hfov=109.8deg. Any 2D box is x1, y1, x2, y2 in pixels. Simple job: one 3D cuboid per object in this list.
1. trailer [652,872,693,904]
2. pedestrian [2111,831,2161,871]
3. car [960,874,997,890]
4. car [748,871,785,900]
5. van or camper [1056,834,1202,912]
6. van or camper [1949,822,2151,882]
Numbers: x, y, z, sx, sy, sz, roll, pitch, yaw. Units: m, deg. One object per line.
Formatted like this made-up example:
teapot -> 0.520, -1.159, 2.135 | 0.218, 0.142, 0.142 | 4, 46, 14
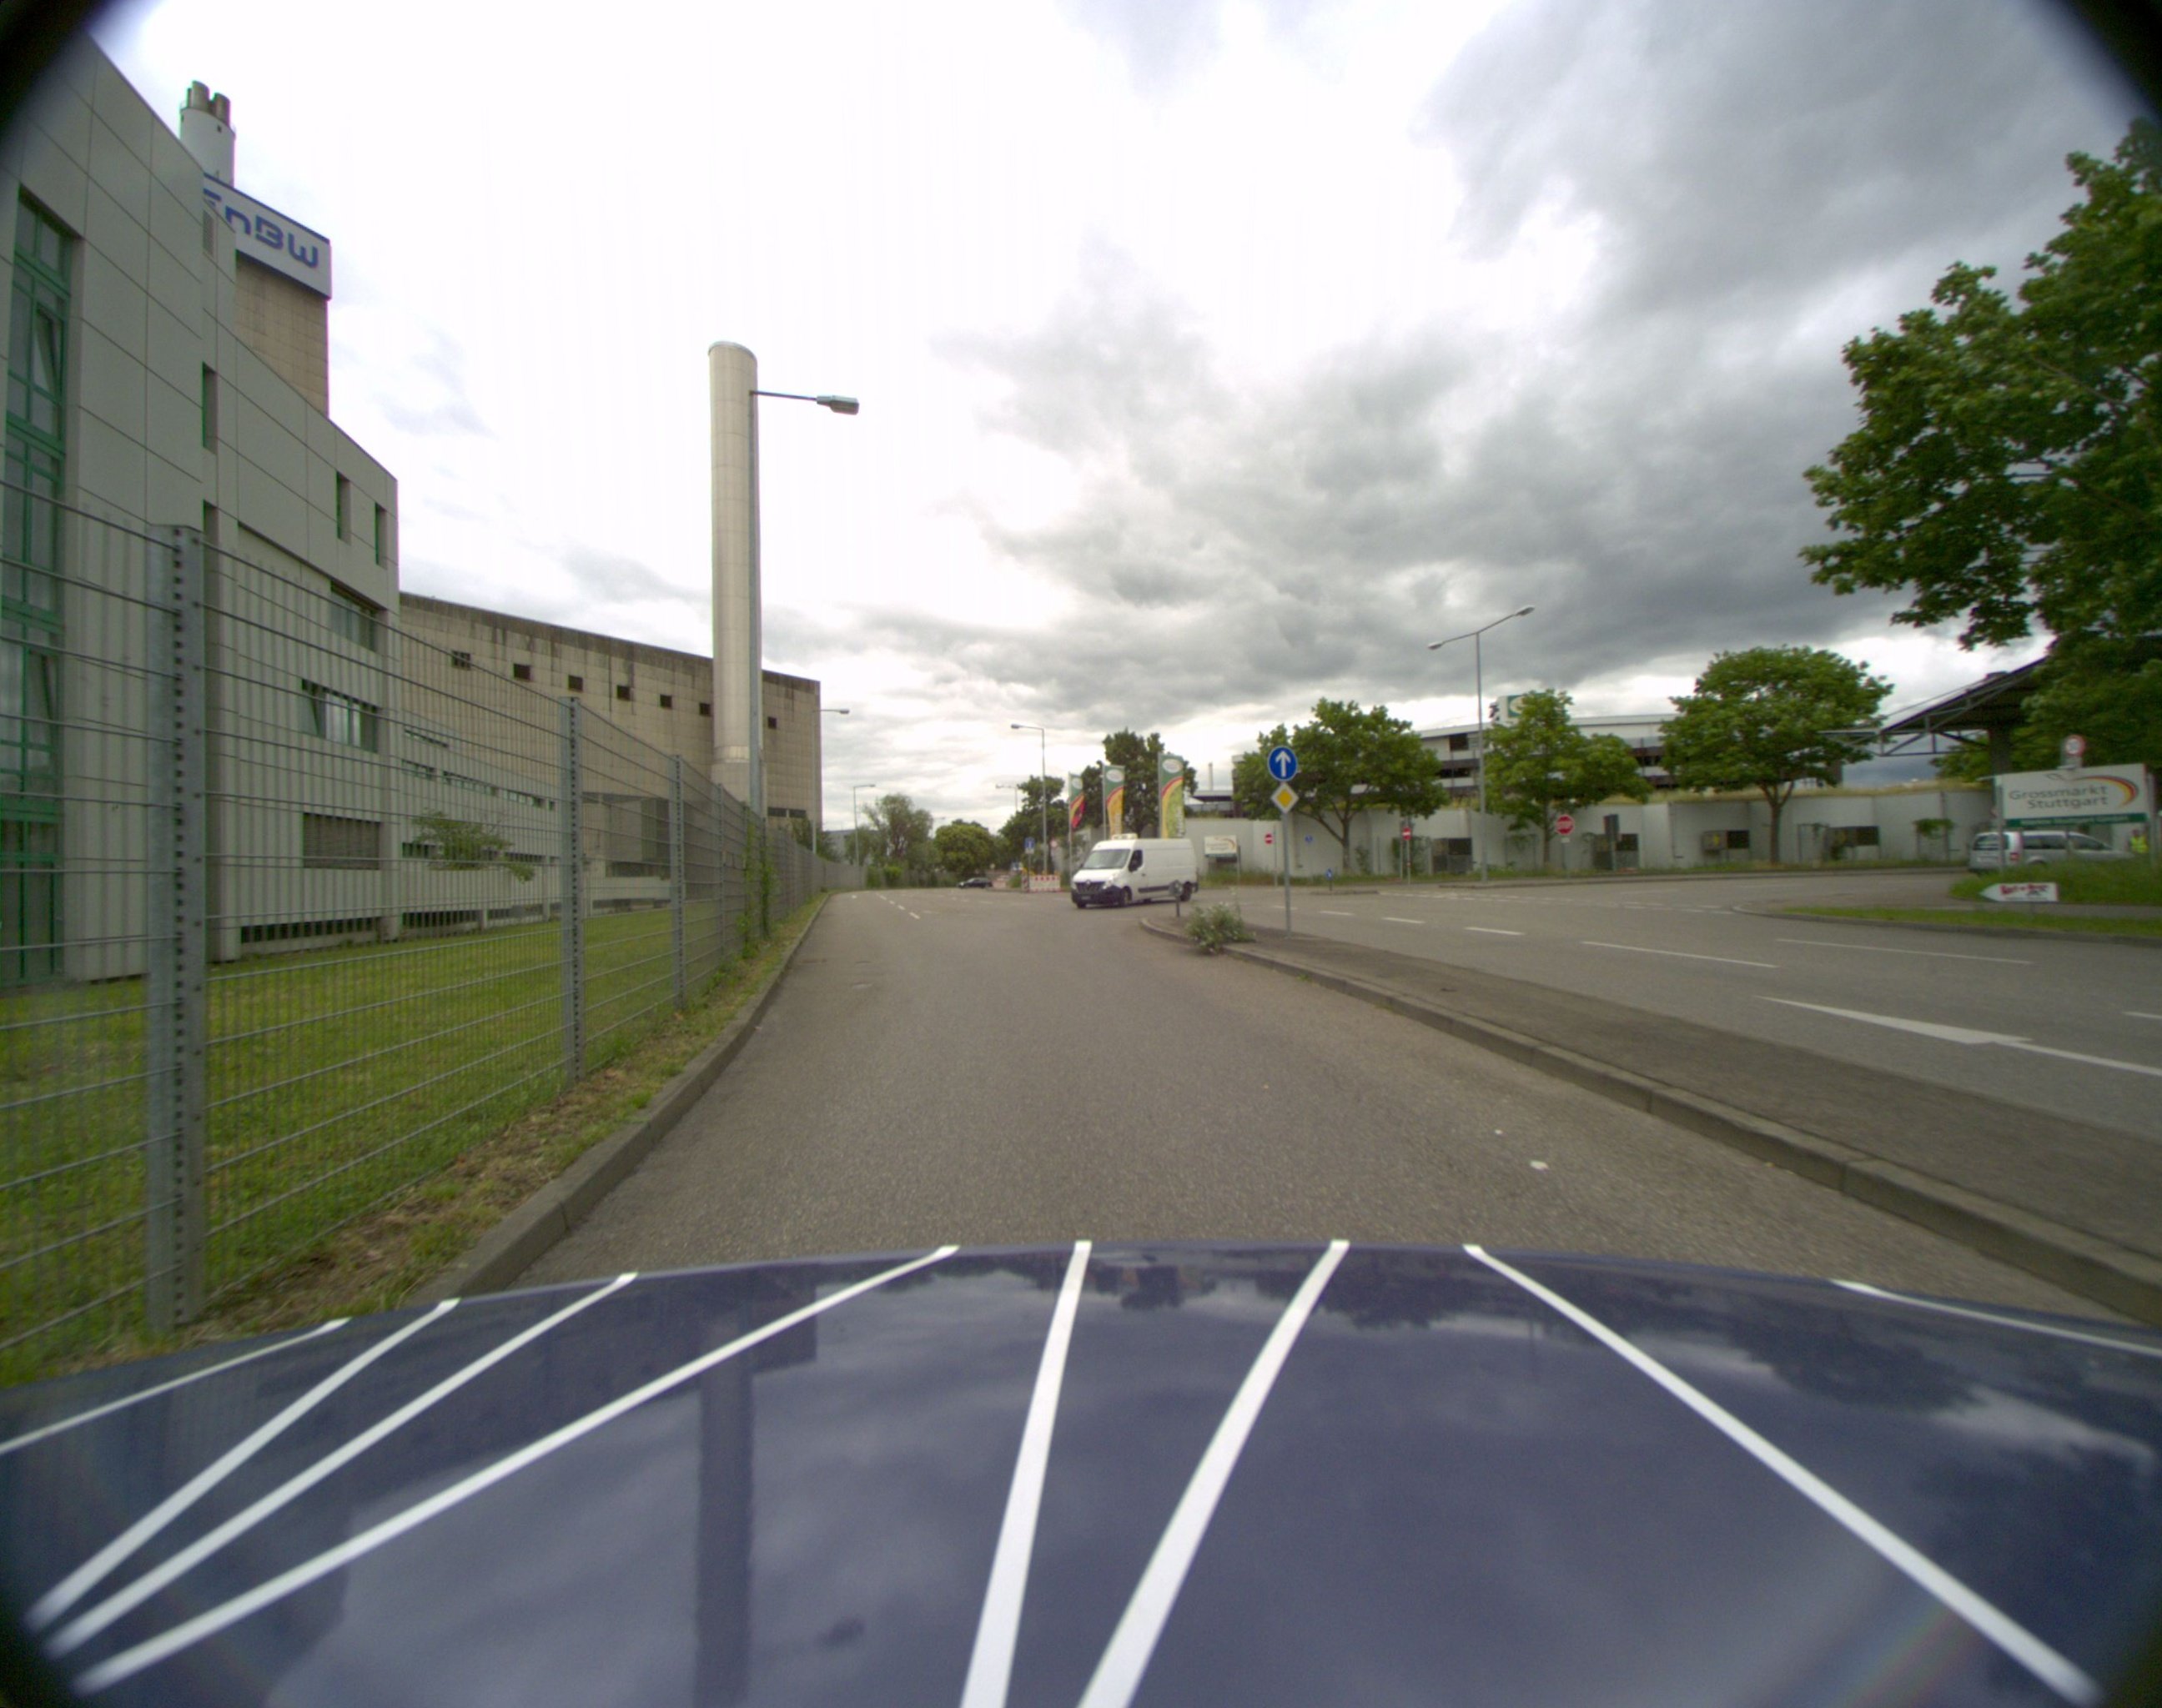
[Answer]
trailer -> -34.912, 2.918, 64.831 | 2.669, 2.528, 6.420 | -2, -2, -31
pedestrian -> 41.719, -0.100, 30.056 | 0.815, 1.549, 0.770 | -1, -1, 8
car -> -13.346, 3.596, 98.845 | 4.621, 1.799, 2.000 | -3, -1, -5
car -> -30.724, 3.075, 74.162 | 2.243, 2.531, 5.181 | -2, -3, -35
van or camper -> 1.937, 0.633, 28.086 | 2.266, 2.542, 6.121 | -2, -1, 38
van or camper -> 35.454, -0.049, 27.953 | 4.269, 1.951, 1.960 | -2, 0, 12
